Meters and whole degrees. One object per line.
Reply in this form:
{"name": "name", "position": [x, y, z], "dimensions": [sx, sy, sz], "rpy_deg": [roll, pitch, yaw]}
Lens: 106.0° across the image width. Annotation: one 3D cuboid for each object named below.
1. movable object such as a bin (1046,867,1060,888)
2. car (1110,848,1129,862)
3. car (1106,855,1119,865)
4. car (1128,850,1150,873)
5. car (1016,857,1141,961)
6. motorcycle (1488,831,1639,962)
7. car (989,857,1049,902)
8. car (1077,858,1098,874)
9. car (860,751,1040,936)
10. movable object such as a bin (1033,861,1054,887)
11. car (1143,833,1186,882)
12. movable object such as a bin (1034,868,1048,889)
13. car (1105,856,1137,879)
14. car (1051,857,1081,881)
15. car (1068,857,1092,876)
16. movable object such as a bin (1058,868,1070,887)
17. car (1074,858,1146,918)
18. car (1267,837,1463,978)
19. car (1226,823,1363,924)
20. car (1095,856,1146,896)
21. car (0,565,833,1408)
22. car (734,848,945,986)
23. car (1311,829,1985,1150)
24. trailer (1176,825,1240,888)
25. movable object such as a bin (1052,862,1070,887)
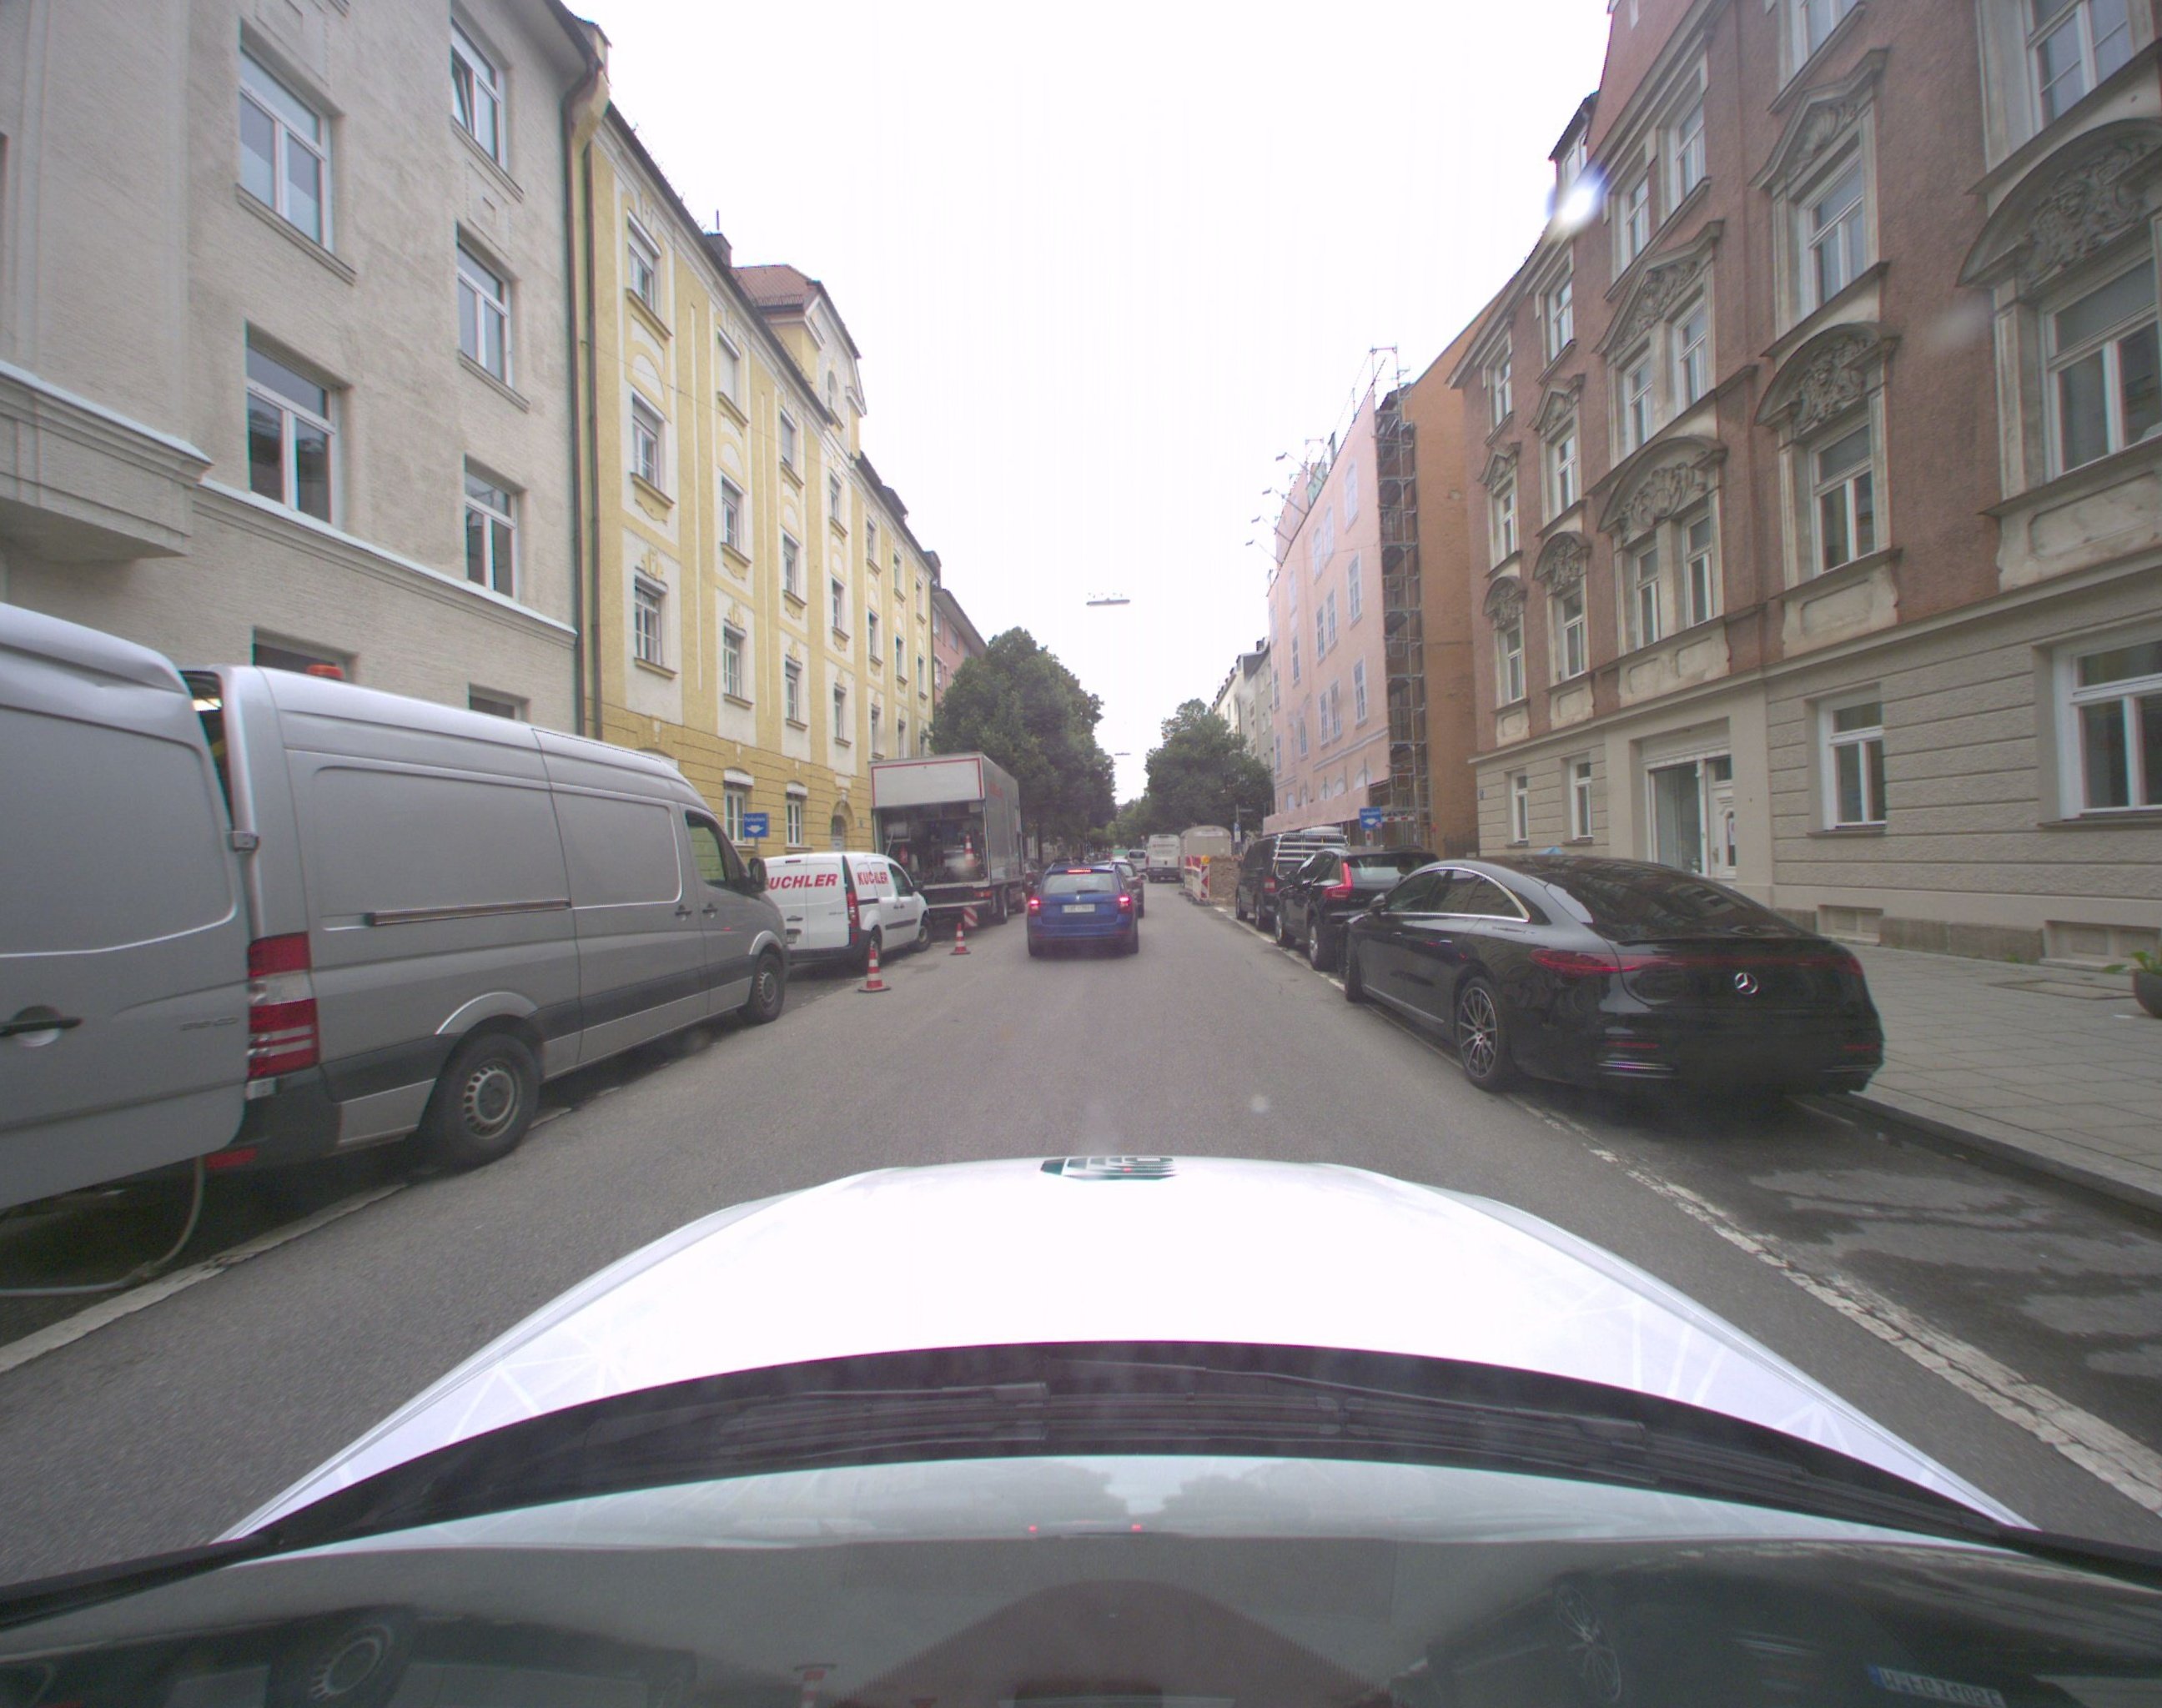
{"name": "movable object such as a bin", "position": [-1.574, 1.313, 45.687], "dimensions": [0.709, 1.148, 0.636], "rpy_deg": [-4, 0, 0]}
{"name": "car", "position": [4.684, 0.083, 99.303], "dimensions": [2.002, 1.653, 4.344], "rpy_deg": [0, 0, -2]}
{"name": "car", "position": [5.289, 0.969, 136.595], "dimensions": [1.999, 1.653, 4.352], "rpy_deg": [0, 0, 4]}
{"name": "car", "position": [5.019, 0.615, 70.581], "dimensions": [1.859, 1.870, 4.351], "rpy_deg": [0, 0, 3]}
{"name": "car", "position": [0.122, 0.817, 14.092], "dimensions": [1.781, 1.460, 4.319], "rpy_deg": [-2, -1, 4]}
{"name": "motorcycle", "position": [6.138, 0.505, 10.518], "dimensions": [0.867, 1.505, 2.000], "rpy_deg": [-2, 0, 5]}
{"name": "car", "position": [-2.453, 0.999, 33.310], "dimensions": [1.777, 1.628, 4.190], "rpy_deg": [-3, 0, 4]}
{"name": "car", "position": [0.660, 1.123, 77.155], "dimensions": [1.804, 1.478, 4.004], "rpy_deg": [-1, 0, 3]}
{"name": "car", "position": [-3.006, -0.187, 21.655], "dimensions": [2.801, 3.817, 8.730], "rpy_deg": [-2, -1, 3]}
{"name": "movable object such as a bin", "position": [-2.112, 1.151, 46.545], "dimensions": [1.078, 1.376, 1.083], "rpy_deg": [-4, 0, -1]}
{"name": "car", "position": [4.942, 0.244, 47.519], "dimensions": [2.100, 2.664, 5.514], "rpy_deg": [0, -1, 9]}
{"name": "movable object such as a bin", "position": [-2.241, 1.356, 45.661], "dimensions": [0.718, 1.138, 0.658], "rpy_deg": [-4, 0, 0]}
{"name": "car", "position": [2.591, 0.855, 51.617], "dimensions": [1.859, 1.348, 4.352], "rpy_deg": [0, 0, 4]}
{"name": "car", "position": [-0.990, 0.990, 54.414], "dimensions": [1.805, 1.478, 4.001], "rpy_deg": [-1, 0, 1]}
{"name": "car", "position": [-0.032, 0.985, 65.123], "dimensions": [1.805, 1.478, 4.001], "rpy_deg": [-1, 0, 1]}
{"name": "movable object such as a bin", "position": [-0.955, 1.314, 45.721], "dimensions": [0.545, 1.020, 0.636], "rpy_deg": [-4, 0, 0]}
{"name": "car", "position": [0.840, 0.856, 21.883], "dimensions": [1.733, 1.422, 3.667], "rpy_deg": [-1, -1, 4]}
{"name": "car", "position": [3.978, 0.674, 12.183], "dimensions": [1.686, 1.676, 4.413], "rpy_deg": [1, -1, 4]}
{"name": "car", "position": [4.544, 0.500, 18.218], "dimensions": [2.073, 1.921, 5.146], "rpy_deg": [-1, -3, 4]}
{"name": "car", "position": [1.556, 0.813, 32.349], "dimensions": [1.860, 1.454, 4.350], "rpy_deg": [0, 0, 2]}
{"name": "car", "position": [-4.168, 0.475, 5.905], "dimensions": [2.047, 2.587, 6.882], "rpy_deg": [-6, -1, 3]}
{"name": "car", "position": [-3.678, 0.876, 13.315], "dimensions": [1.755, 1.779, 4.332], "rpy_deg": [-4, -1, 4]}
{"name": "car", "position": [3.579, 0.678, 6.835], "dimensions": [1.923, 1.553, 5.640], "rpy_deg": [-1, 0, 3]}
{"name": "trailer", "position": [6.144, 0.142, 40.358], "dimensions": [2.491, 2.840, 6.907], "rpy_deg": [-1, -1, 3]}
{"name": "movable object such as a bin", "position": [-1.115, 1.153, 46.585], "dimensions": [0.915, 1.376, 1.079], "rpy_deg": [-4, 0, -1]}
